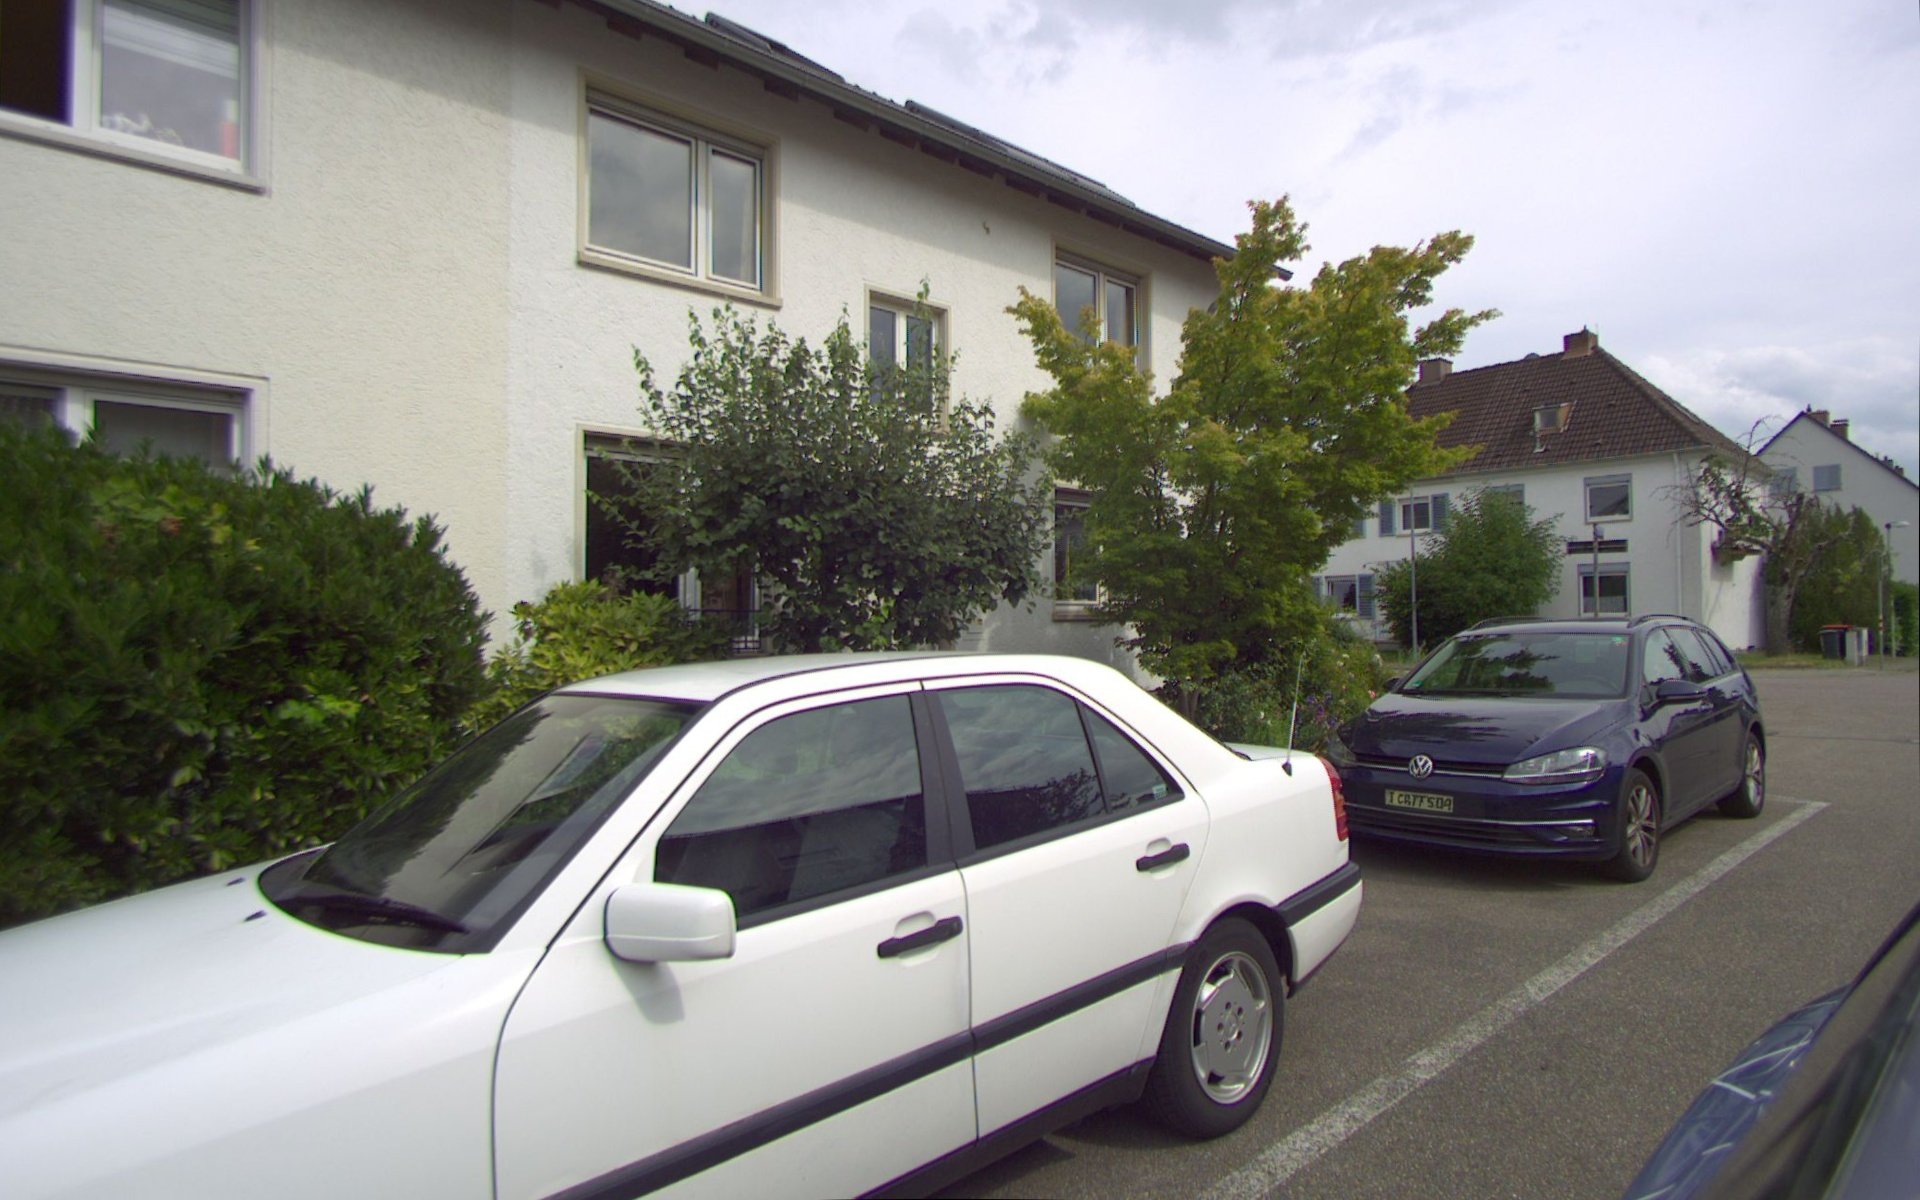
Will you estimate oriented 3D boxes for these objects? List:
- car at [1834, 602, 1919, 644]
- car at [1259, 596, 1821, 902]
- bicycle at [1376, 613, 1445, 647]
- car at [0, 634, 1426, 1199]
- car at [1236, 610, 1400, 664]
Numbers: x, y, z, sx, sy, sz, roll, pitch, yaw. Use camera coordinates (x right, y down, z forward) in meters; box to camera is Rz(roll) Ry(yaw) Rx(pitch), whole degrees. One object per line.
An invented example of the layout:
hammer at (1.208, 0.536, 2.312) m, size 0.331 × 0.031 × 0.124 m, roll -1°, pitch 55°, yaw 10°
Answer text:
car at (39.217, 0.953, 42.122) m, size 1.964 × 1.728 × 3.995 m, roll 0°, pitch -1°, yaw -39°
car at (4.283, 0.732, 7.089) m, size 4.764 × 1.458 × 1.871 m, roll 0°, pitch -1°, yaw -40°
bicycle at (15.650, 1.031, 35.209) m, size 0.562 × 1.149 × 2.168 m, roll 1°, pitch -2°, yaw -39°
car at (-0.633, 0.835, 2.722) m, size 4.616 × 1.382 × 1.695 m, roll 0°, pitch -1°, yaw -41°
car at (11.262, 1.137, 32.117) m, size 1.964 × 1.590 × 4.541 m, roll 0°, pitch -1°, yaw -38°
